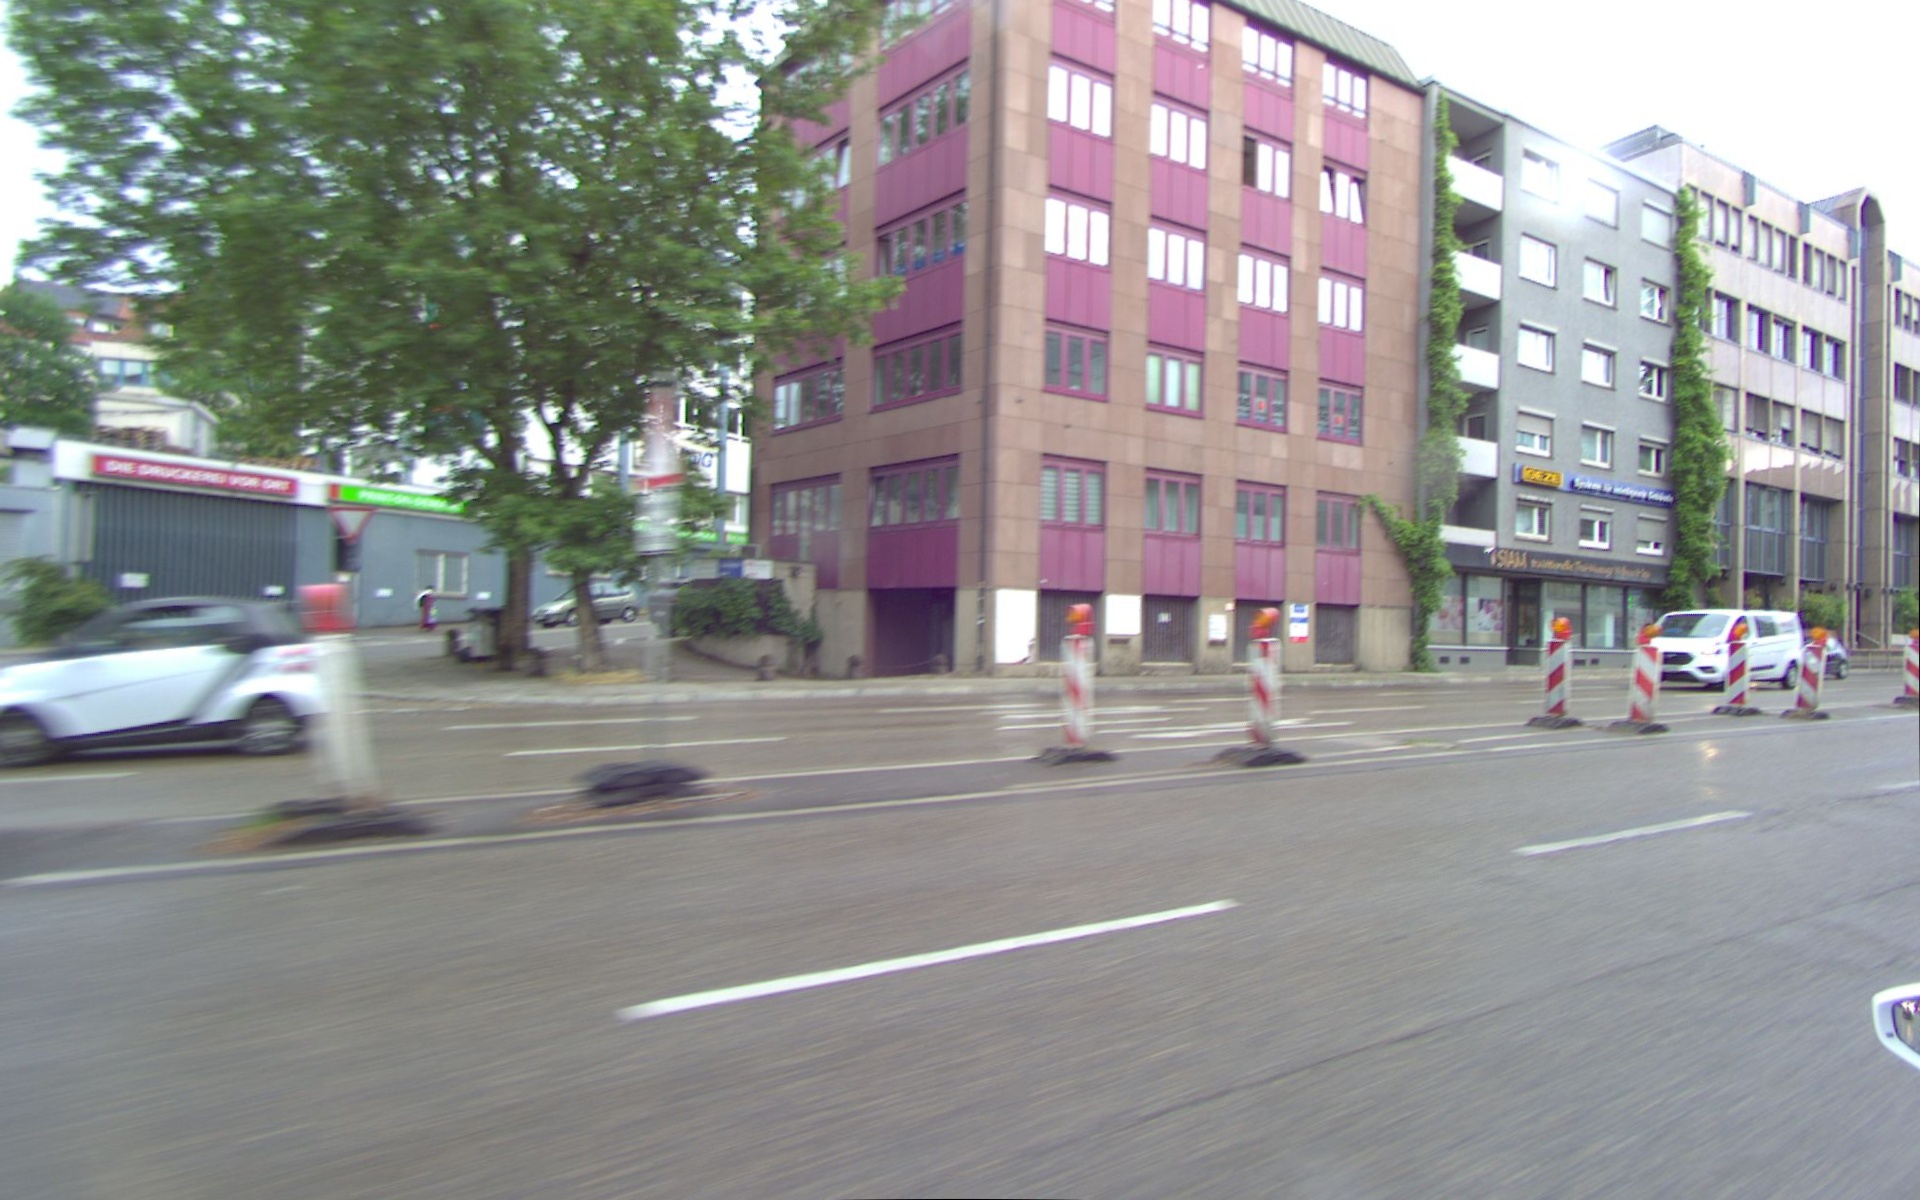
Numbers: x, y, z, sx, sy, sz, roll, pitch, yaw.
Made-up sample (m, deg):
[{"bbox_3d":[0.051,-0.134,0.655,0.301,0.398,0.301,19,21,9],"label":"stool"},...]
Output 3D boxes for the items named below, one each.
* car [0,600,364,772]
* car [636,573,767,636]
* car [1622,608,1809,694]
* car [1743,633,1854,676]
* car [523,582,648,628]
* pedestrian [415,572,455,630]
[{"bbox_3d":[-7.691,0.775,10.023,2.912,1.504,1.549,0,-1,-28],"label":"car"},{"bbox_3d":[-8.286,0.204,32.542,1.902,1.893,3.995,-1,-2,28],"label":"car"},{"bbox_3d":[19.452,1.262,25.809,5.227,2.016,1.984,1,-2,-31],"label":"car"},{"bbox_3d":[29.281,1.862,35.058,3.972,1.418,1.691,1,-2,-30],"label":"car"},{"bbox_3d":[-14.270,0.160,38.526,1.808,1.483,4.163,-1,2,34],"label":"car"},{"bbox_3d":[-18.823,0.048,36.000,0.827,2.040,0.979,-1,-2,34],"label":"pedestrian"}]
